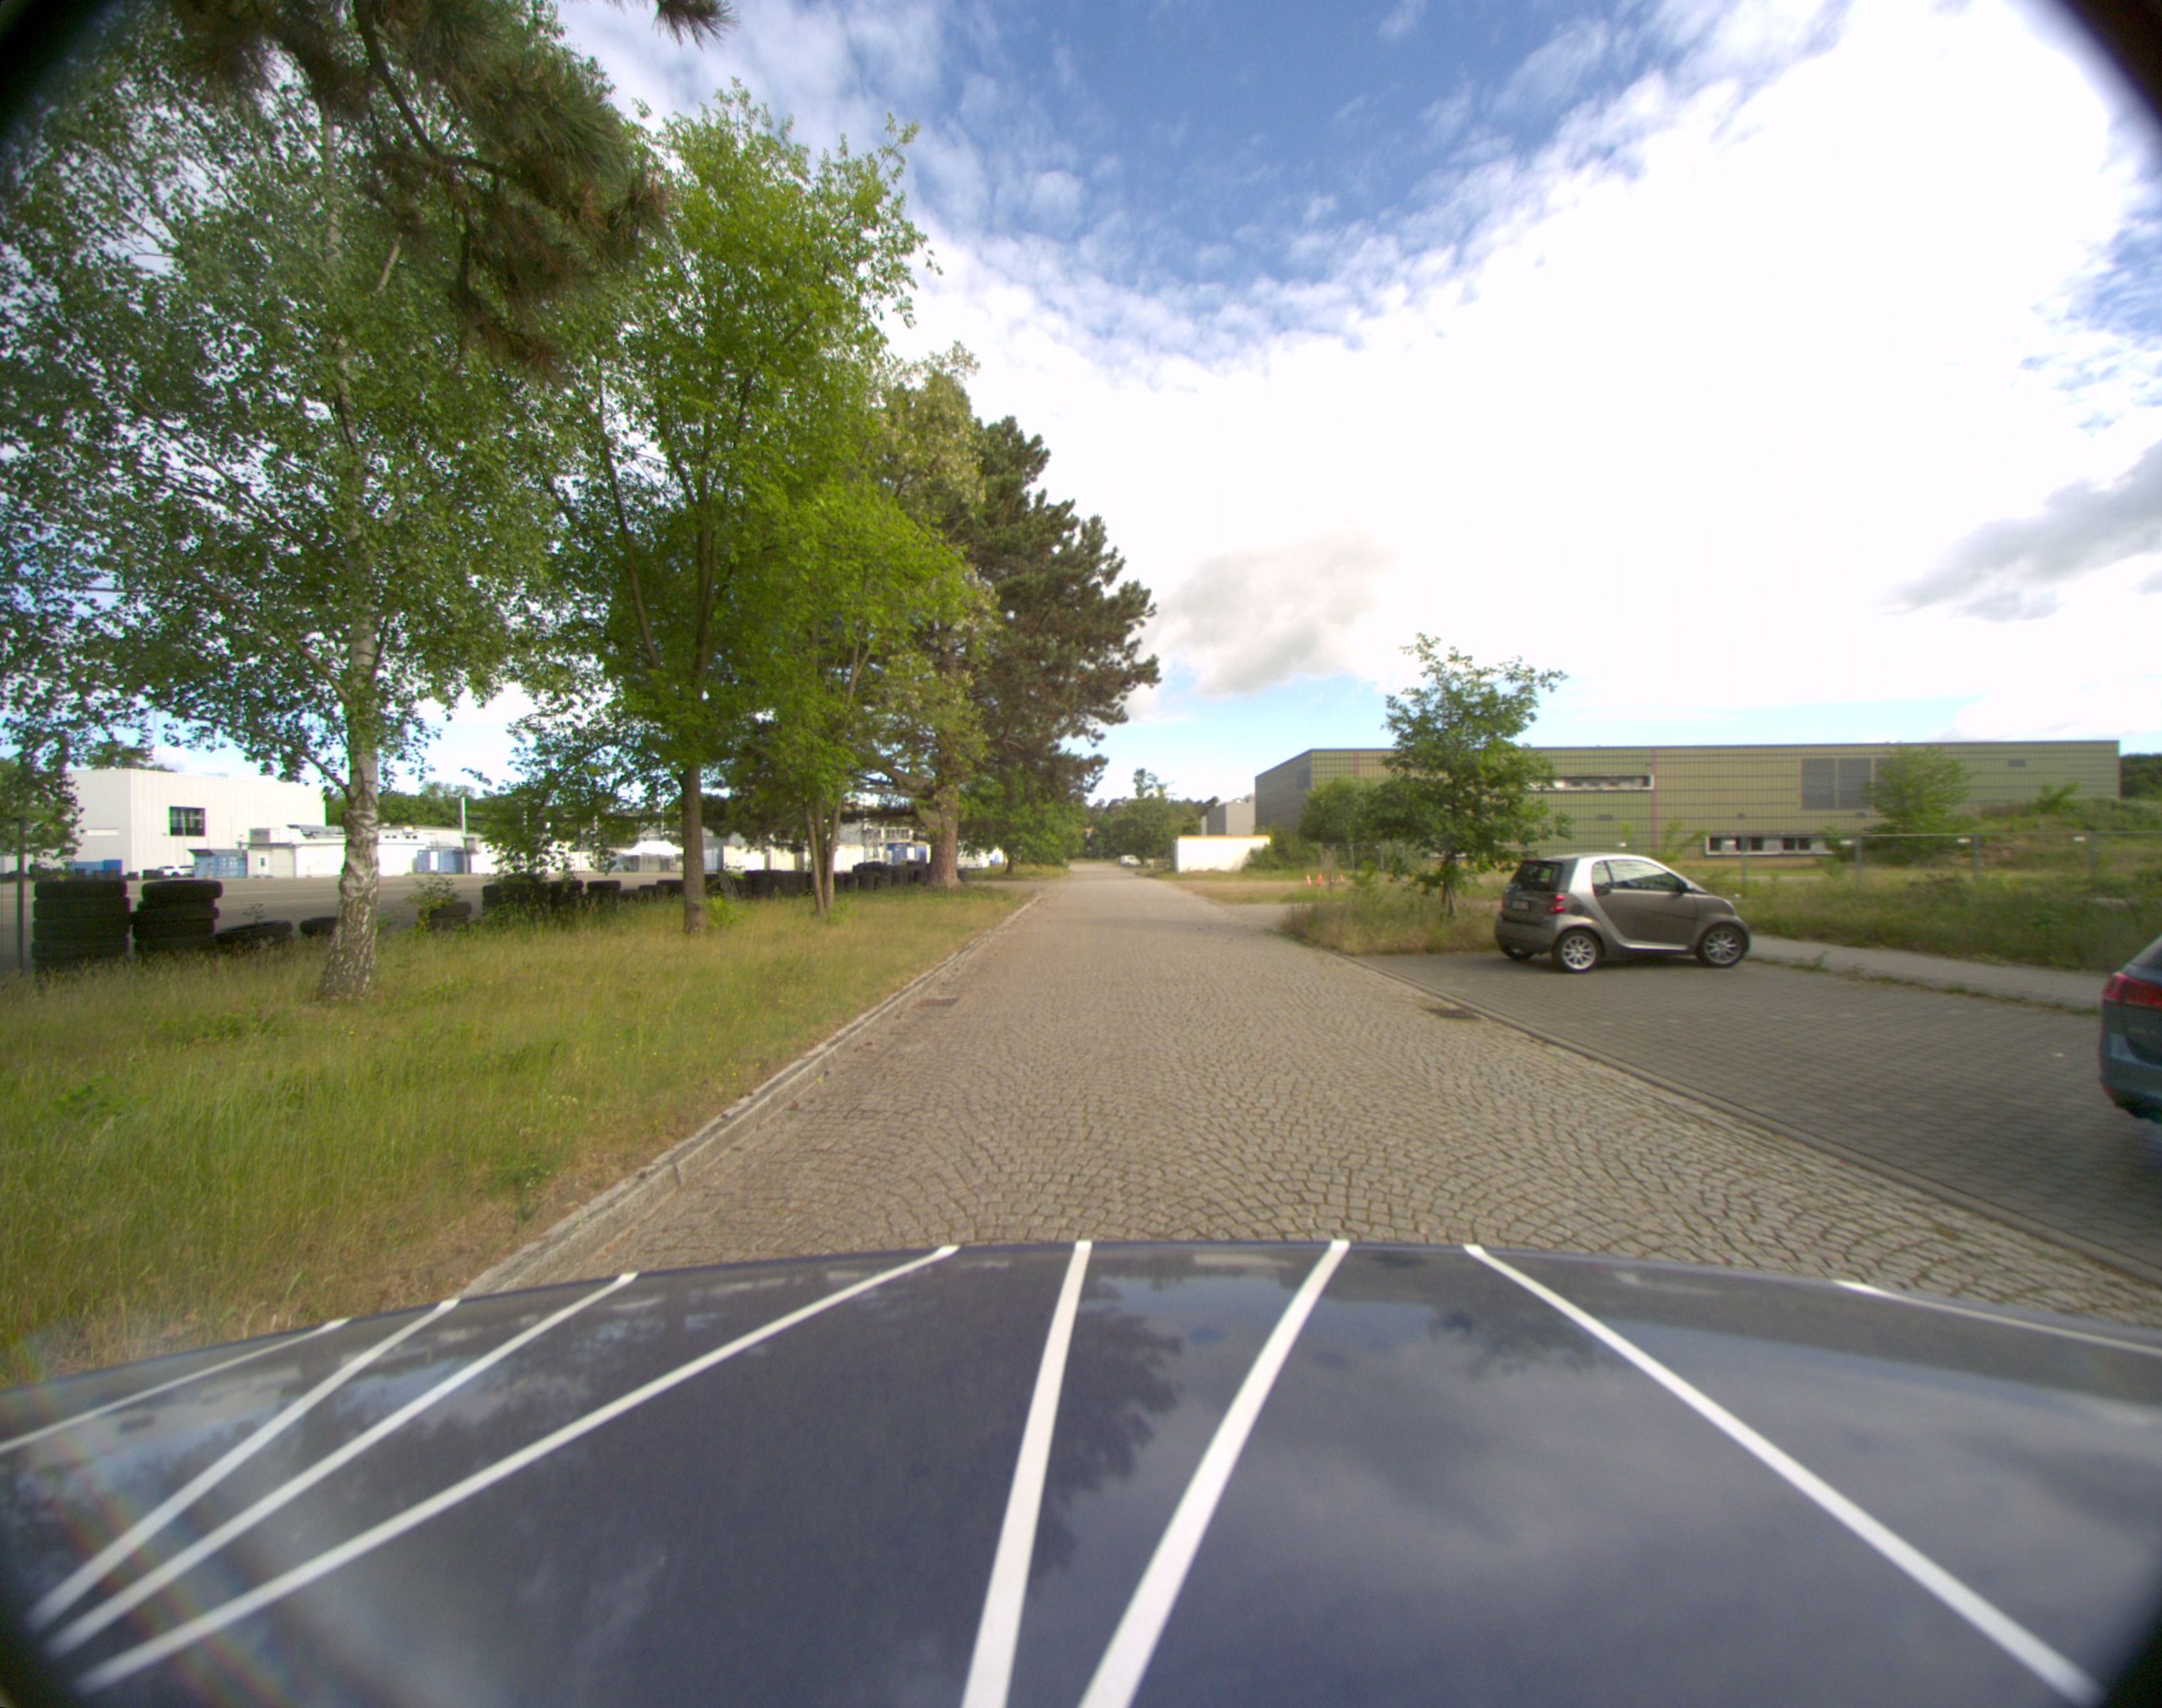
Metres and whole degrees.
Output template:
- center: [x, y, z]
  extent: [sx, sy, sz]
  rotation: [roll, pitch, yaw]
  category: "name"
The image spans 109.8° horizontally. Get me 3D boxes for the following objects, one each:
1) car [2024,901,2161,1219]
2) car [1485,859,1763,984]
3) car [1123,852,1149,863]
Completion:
- center: [7.157, 0.914, 3.181]
  extent: [4.317, 1.420, 1.773]
  rotation: [-2, 0, -2]
  category: "car"
- center: [7.345, 0.867, 10.478]
  extent: [2.661, 1.502, 1.610]
  rotation: [-2, 0, 0]
  category: "car"
- center: [8.470, 0.538, 117.700]
  extent: [3.996, 1.604, 1.797]
  rotation: [0, 0, 4]
  category: "car"
